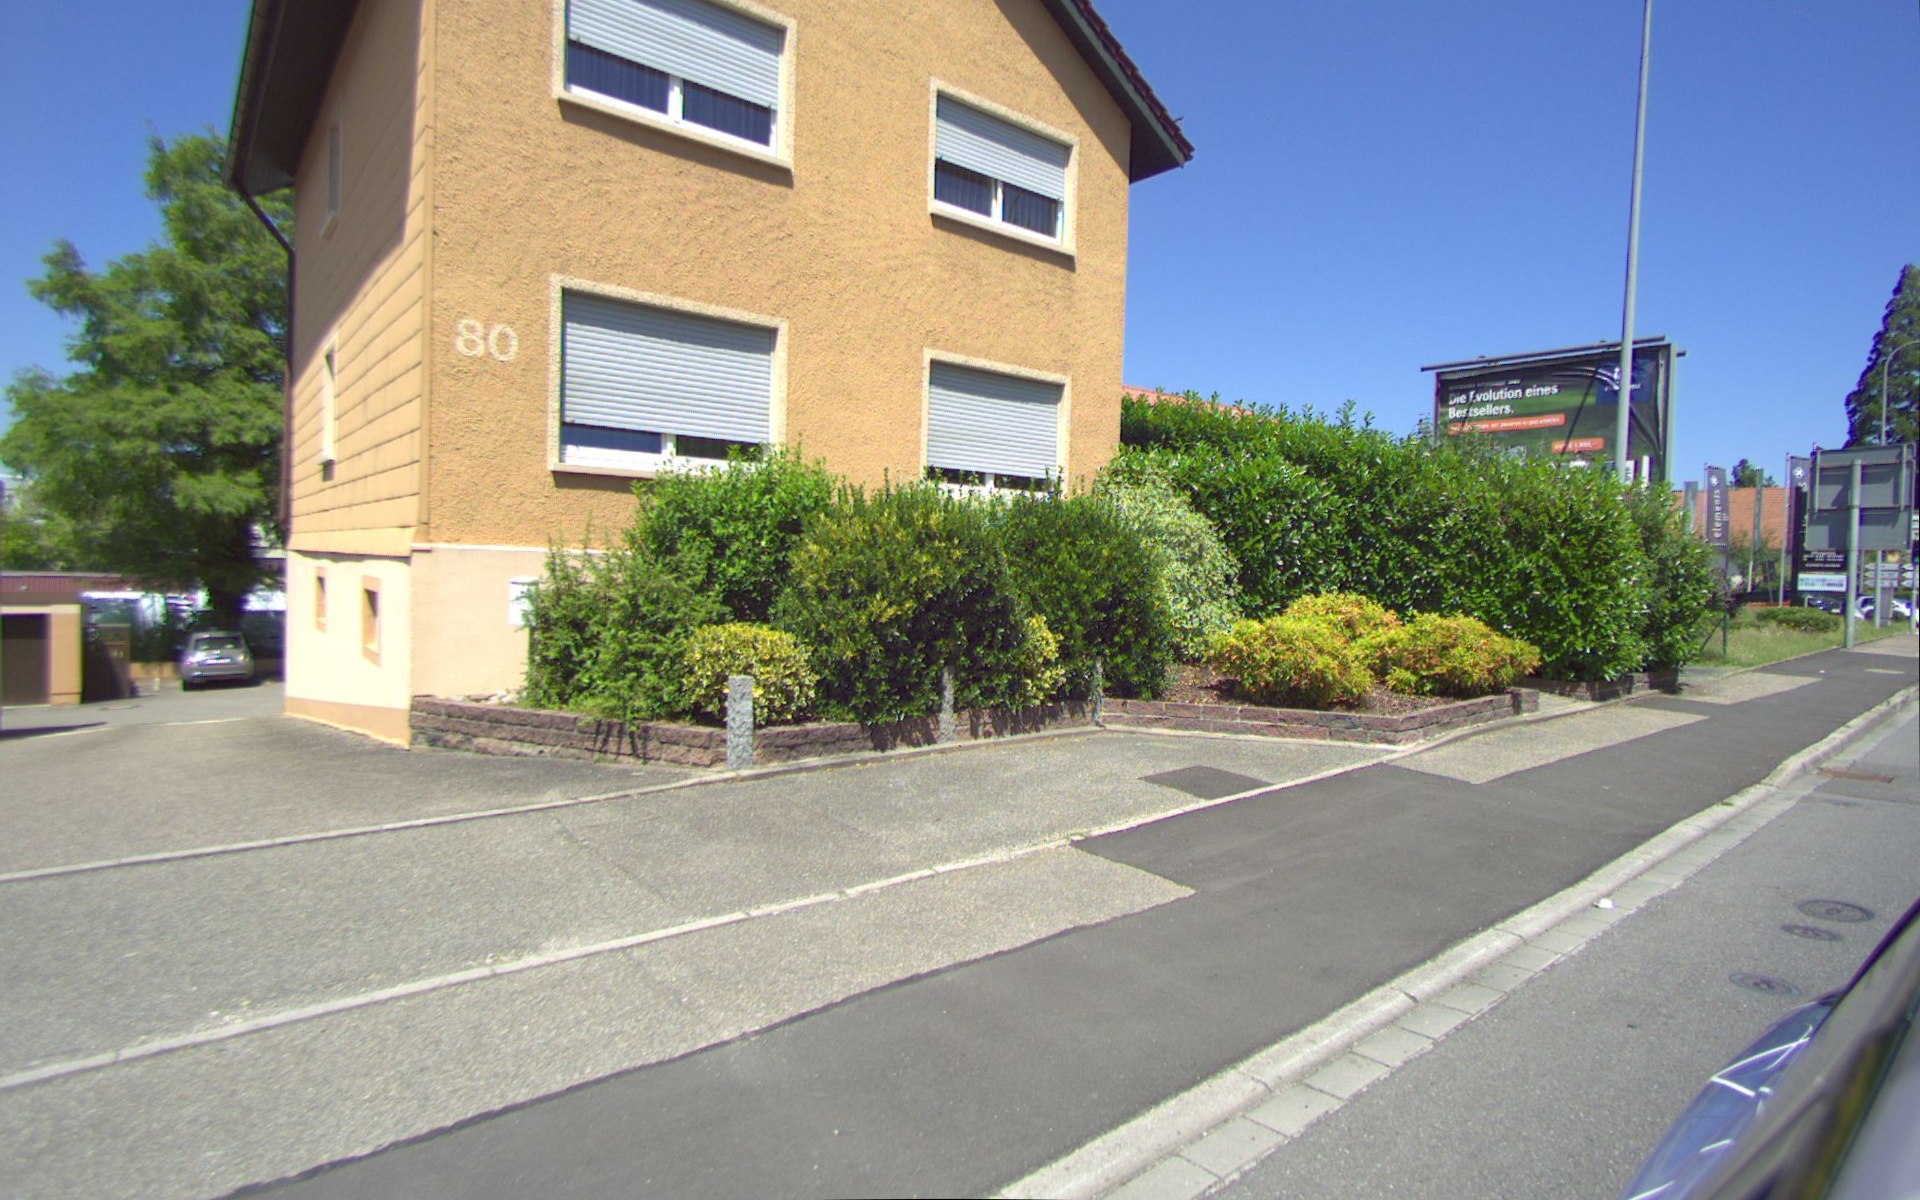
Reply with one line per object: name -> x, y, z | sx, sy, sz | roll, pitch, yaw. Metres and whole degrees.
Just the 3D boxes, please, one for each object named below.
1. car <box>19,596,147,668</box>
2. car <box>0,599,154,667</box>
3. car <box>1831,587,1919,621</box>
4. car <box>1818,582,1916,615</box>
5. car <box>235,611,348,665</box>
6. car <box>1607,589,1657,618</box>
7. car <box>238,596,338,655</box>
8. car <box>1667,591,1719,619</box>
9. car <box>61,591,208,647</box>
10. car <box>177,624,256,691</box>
car -> -30.419, 1.041, 35.191 | 3.292, 2.370, 1.689 | 0, 0, -41
car -> -28.961, 1.024, 32.852 | 4.300, 2.039, 1.998 | -1, 0, -38
car -> 42.330, 0.160, 46.220 | 1.598, 1.400, 3.637 | -1, 2, -39
car -> 47.649, -0.113, 53.196 | 1.598, 1.570, 3.637 | -1, 2, -39
car -> -24.470, 1.345, 37.060 | 3.292, 1.813, 1.689 | 0, 0, -41
car -> 40.572, 0.199, 61.080 | 3.636, 1.665, 1.696 | -1, 1, -42
car -> -27.871, 1.008, 42.029 | 3.292, 2.370, 1.689 | 0, 0, -41
car -> 47.123, 0.288, 65.027 | 3.631, 1.665, 1.699 | -1, 1, -37
car -> -31.591, 0.687, 38.898 | 4.300, 2.039, 1.998 | -1, 0, -38
car -> -21.055, 1.573, 28.778 | 1.617, 1.619, 4.207 | 0, 0, -34
